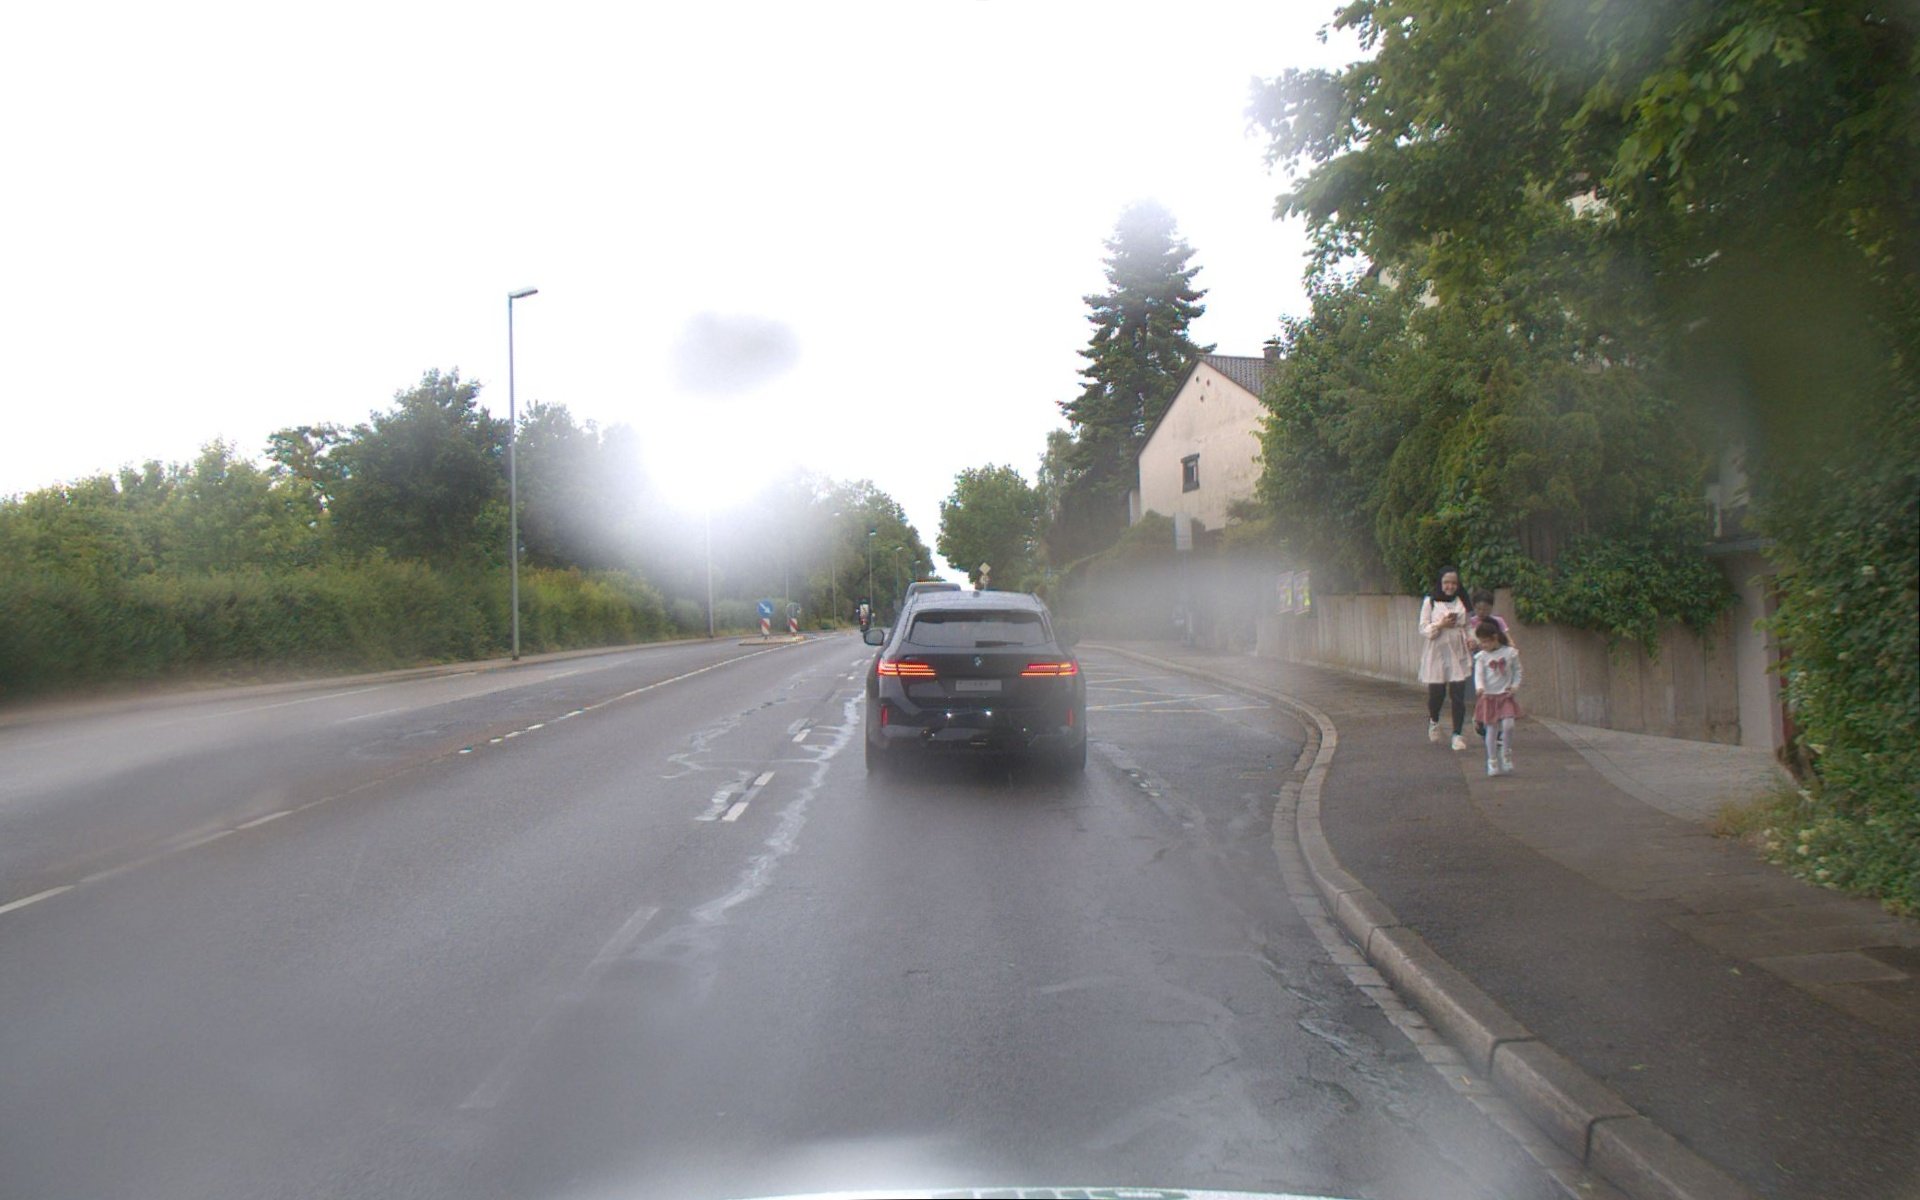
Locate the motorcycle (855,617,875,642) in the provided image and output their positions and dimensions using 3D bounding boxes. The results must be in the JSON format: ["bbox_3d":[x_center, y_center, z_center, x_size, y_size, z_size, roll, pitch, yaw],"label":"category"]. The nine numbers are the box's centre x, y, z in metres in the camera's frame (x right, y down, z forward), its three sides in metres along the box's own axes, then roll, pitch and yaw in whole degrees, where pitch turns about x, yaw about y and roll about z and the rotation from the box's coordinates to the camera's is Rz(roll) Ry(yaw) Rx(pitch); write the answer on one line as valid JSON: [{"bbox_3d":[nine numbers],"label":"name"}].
[{"bbox_3d":[-4.468,1.397,77.878,0.858,1.144,2.740,0,-1,-1],"label":"motorcycle"}]

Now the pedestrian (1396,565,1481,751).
[{"bbox_3d":[4.287,0.508,14.852,0.597,1.621,0.646,-1,0,7],"label":"pedestrian"}]

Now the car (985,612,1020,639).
[{"bbox_3d":[2.399,1.428,94.016,1.895,1.467,4.408,-2,-1,1],"label":"car"}]

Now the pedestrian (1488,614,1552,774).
[{"bbox_3d":[4.171,0.693,12.337,0.359,1.166,0.366,-1,0,7],"label":"pedestrian"}]

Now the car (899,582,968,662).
[{"bbox_3d":[-0.672,0.528,41.649,1.596,1.865,3.999,-2,0,-1],"label":"car"}]

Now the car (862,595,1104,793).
[{"bbox_3d":[0.182,0.743,14.813,1.858,1.515,4.000,1,-1,0],"label":"car"}]

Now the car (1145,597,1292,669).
[{"bbox_3d":[7.356,0.968,47.033,3.647,1.319,1.761,12,-7,-21],"label":"car"}]

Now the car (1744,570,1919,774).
[{"bbox_3d":[8.759,0.771,13.825,4.543,1.445,1.771,8,-5,-31],"label":"car"}]

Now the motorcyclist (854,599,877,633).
[{"bbox_3d":[-4.461,0.750,77.903,1.018,1.595,0.855,0,-1,-1],"label":"motorcyclist"}]
